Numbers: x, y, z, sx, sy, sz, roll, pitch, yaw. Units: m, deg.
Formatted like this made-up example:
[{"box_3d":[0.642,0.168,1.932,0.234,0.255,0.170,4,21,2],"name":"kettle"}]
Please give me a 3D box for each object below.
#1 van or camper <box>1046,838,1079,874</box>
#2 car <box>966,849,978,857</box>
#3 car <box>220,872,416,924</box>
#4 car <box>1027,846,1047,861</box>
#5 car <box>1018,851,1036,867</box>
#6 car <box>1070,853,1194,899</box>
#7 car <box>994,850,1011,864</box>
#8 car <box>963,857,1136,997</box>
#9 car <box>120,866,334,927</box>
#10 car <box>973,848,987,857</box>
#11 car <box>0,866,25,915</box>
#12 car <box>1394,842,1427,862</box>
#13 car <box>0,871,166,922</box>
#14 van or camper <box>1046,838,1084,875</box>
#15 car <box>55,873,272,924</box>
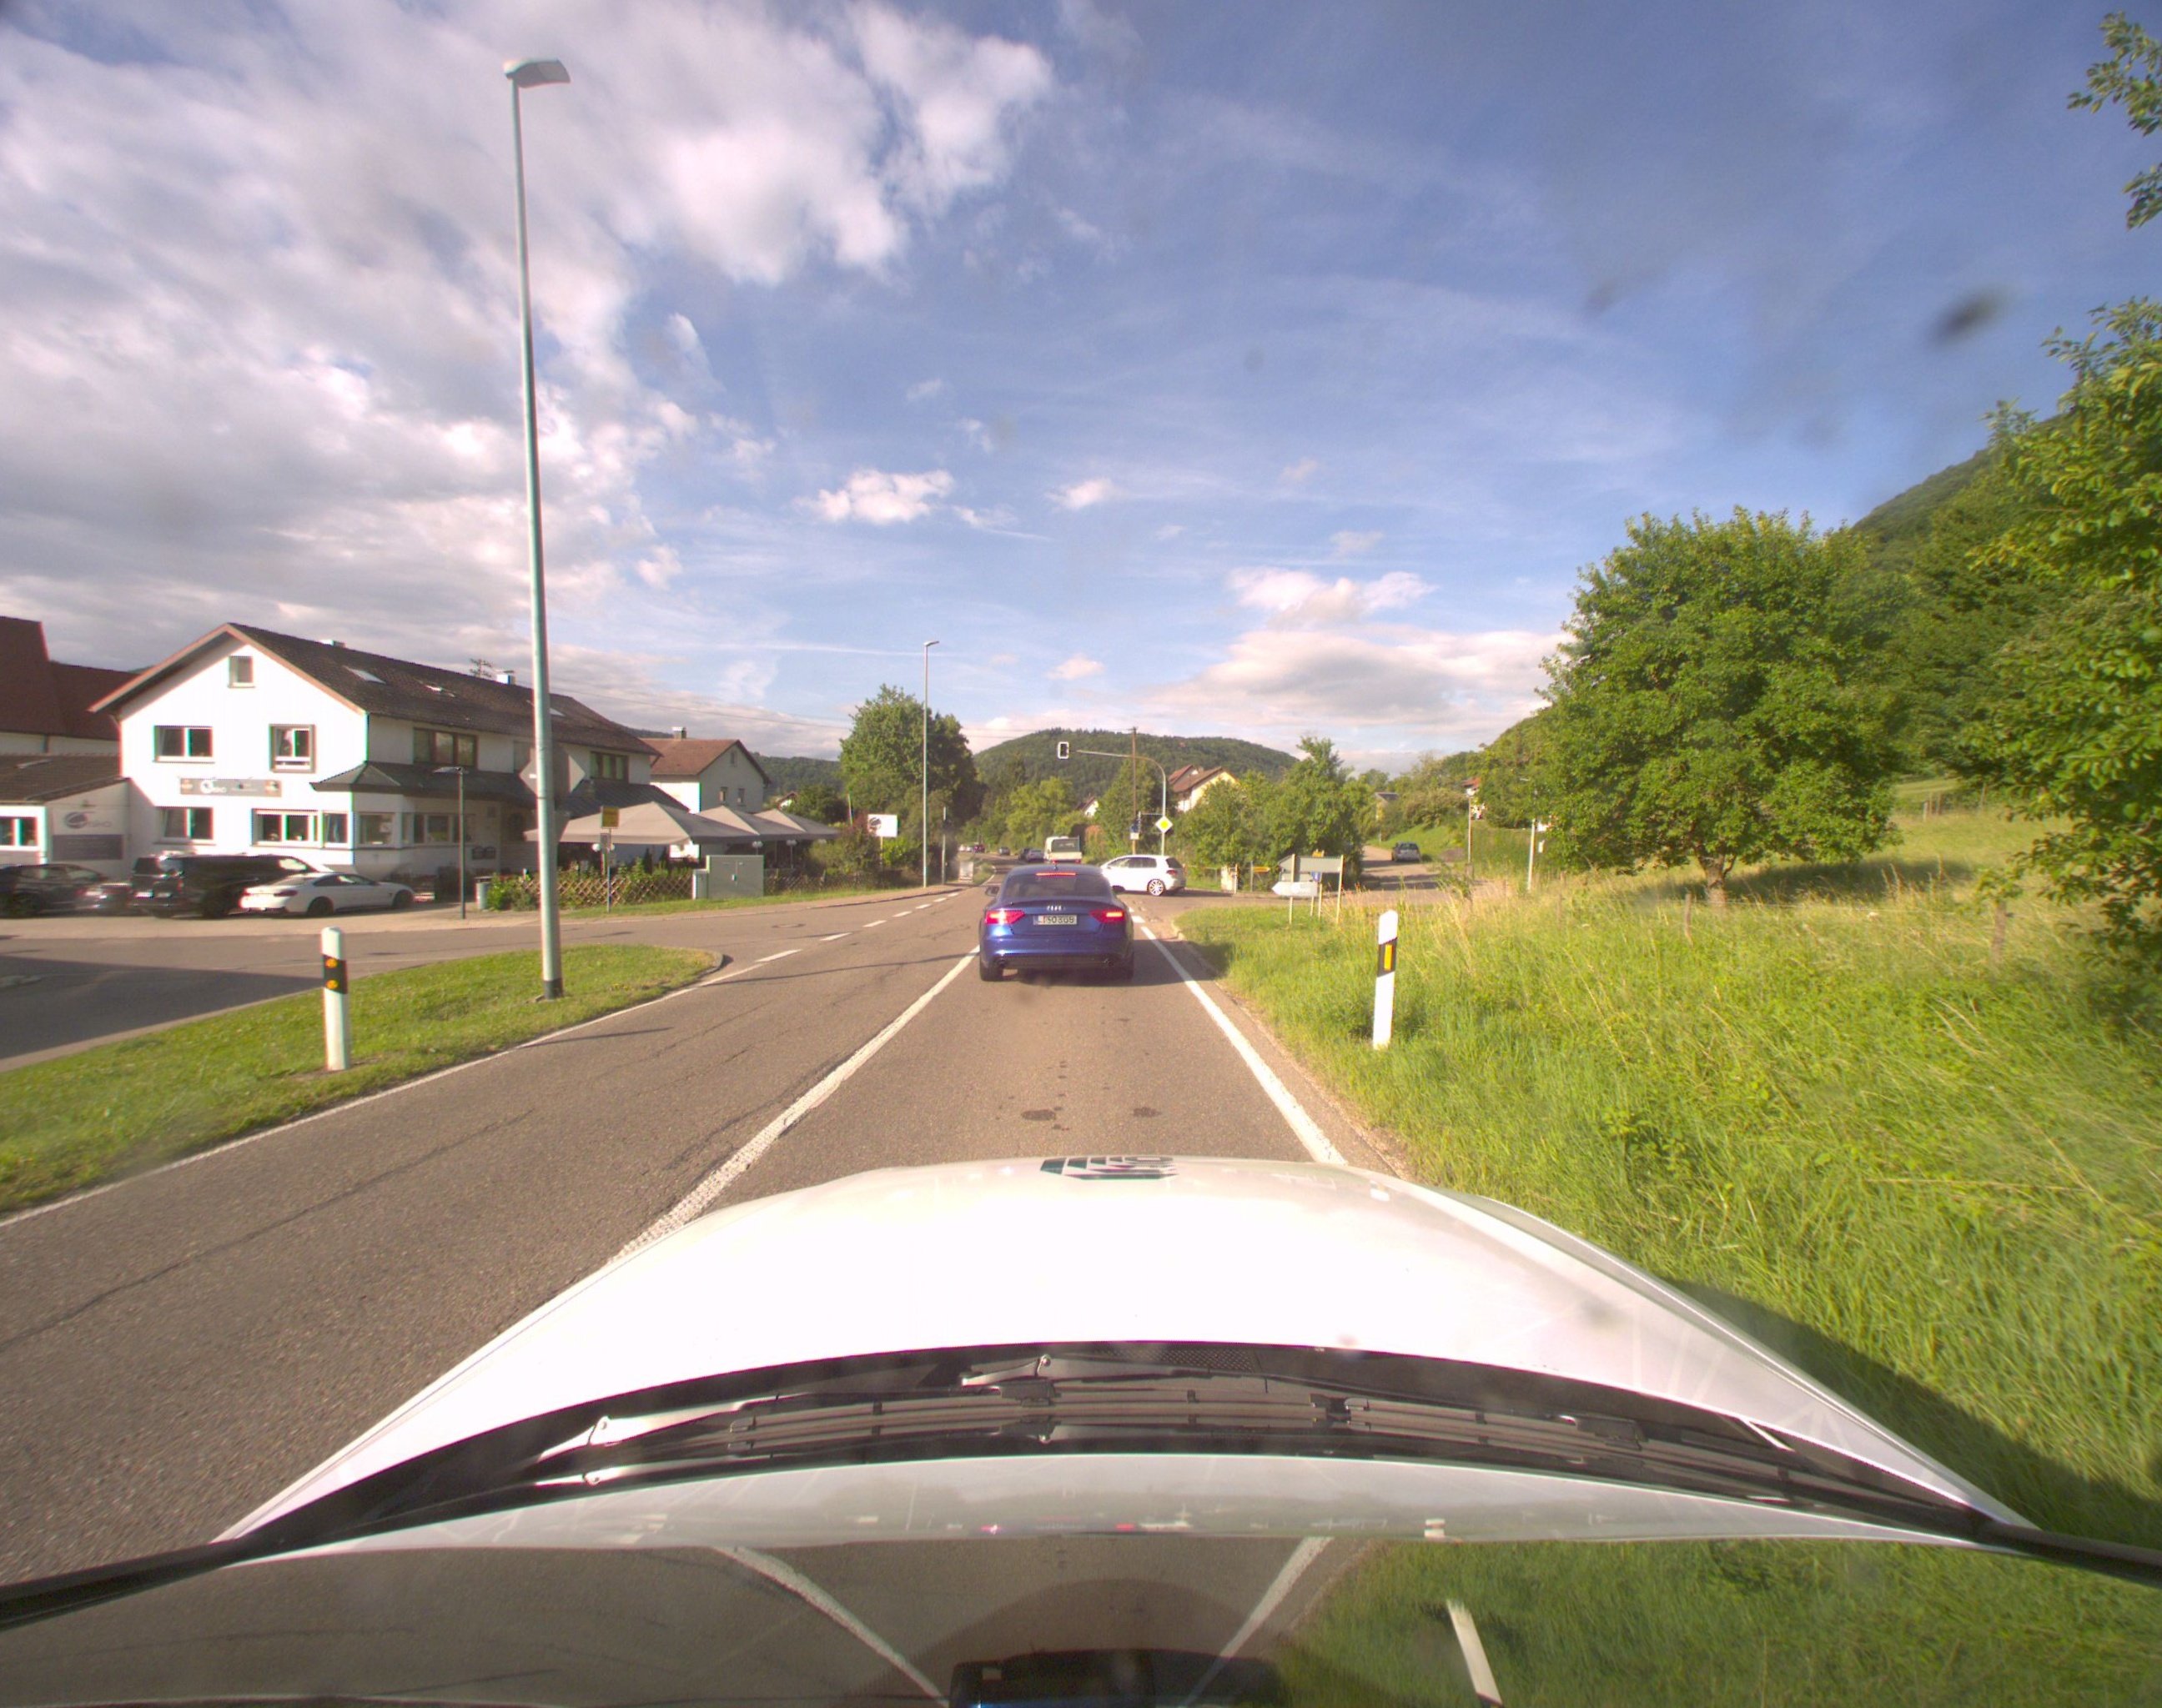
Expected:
[{"box_3d":[-1.665,0.112,69.920,2.411,2.904,6.120,-1,1,-5],"name":"van or camper"},{"box_3d":[-21.714,-0.202,162.596,1.945,1.684,3.980,-2,0,-14],"name":"car"},{"box_3d":[-25.029,1.374,26.993,1.985,1.389,4.581,-2,0,3],"name":"car"},{"box_3d":[-4.872,-0.042,89.842,1.819,1.552,3.988,-2,0,-9],"name":"car"},{"box_3d":[-6.750,0.603,101.241,1.797,1.794,3.985,-1,0,-11],"name":"car"},{"box_3d":[1.890,0.762,30.115,4.124,1.414,1.787,3,1,23],"name":"car"},{"box_3d":[-12.098,0.397,125.166,1.996,2.013,3.982,-1,2,-13],"name":"car"},{"box_3d":[-0.368,0.790,10.868,1.824,1.409,4.225,-2,0,-1],"name":"car"},{"box_3d":[-27.721,1.303,26.709,1.985,1.685,4.581,-2,0,3],"name":"car"},{"box_3d":[-19.089,-0.284,153.680,2.044,1.684,3.981,-1,1,-14],"name":"car"},{"box_3d":[-36.815,1.262,25.254,1.985,1.597,4.581,-2,0,3],"name":"car"},{"box_3d":[25.178,-0.095,62.361,1.978,1.464,4.017,-1,-1,16],"name":"car"},{"box_3d":[-33.563,1.358,26.605,1.985,1.412,4.581,-2,0,3],"name":"car"},{"box_3d":[-1.143,0.130,55.639,2.176,2.385,5.360,-1,1,-5],"name":"van or camper"},{"box_3d":[-30.802,1.426,27.601,1.985,1.389,4.581,-2,0,3],"name":"car"}]
